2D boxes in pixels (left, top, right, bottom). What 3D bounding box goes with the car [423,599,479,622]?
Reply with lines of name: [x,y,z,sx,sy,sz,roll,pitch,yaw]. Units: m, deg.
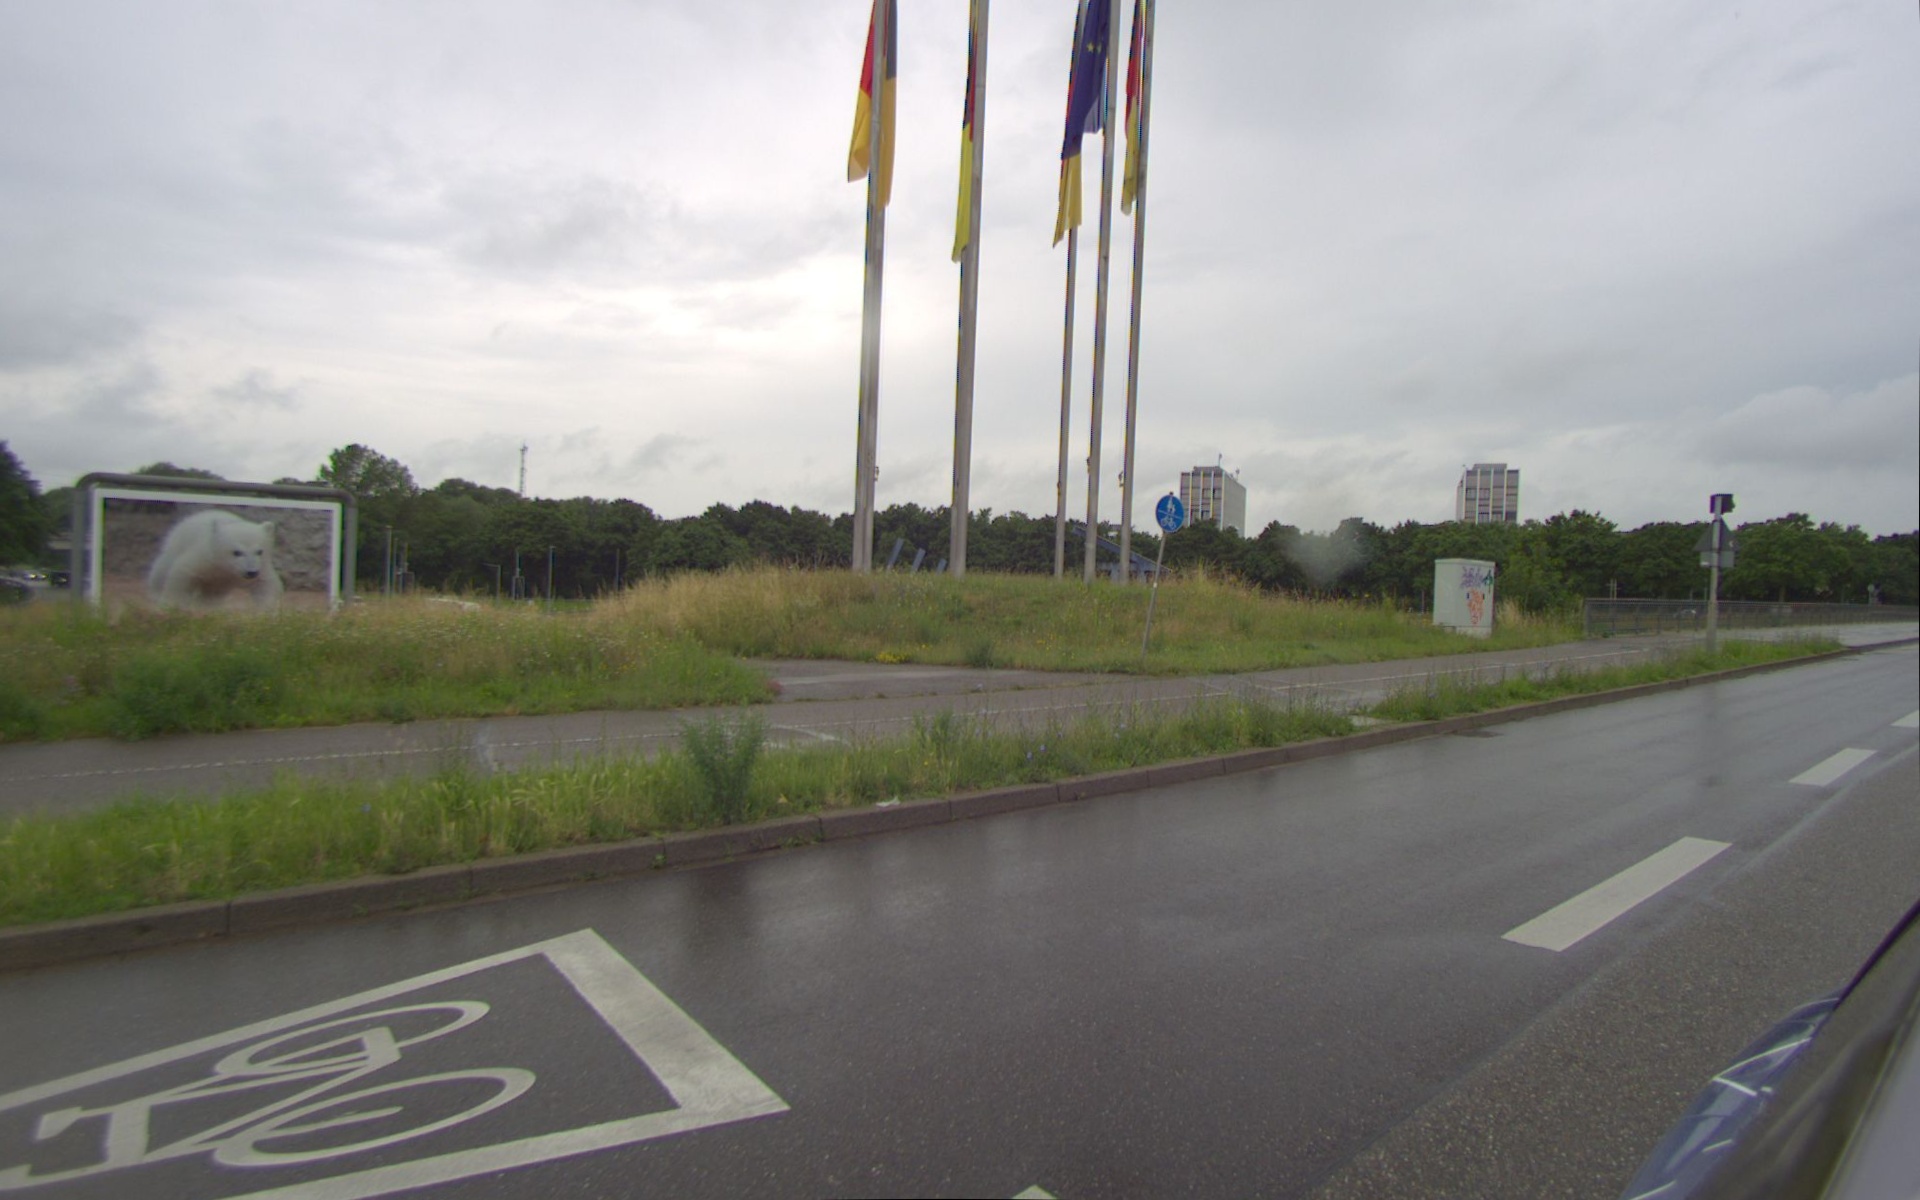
car: [-43.878,0.900,87.260,4.702,1.719,1.980,2,2,29]
